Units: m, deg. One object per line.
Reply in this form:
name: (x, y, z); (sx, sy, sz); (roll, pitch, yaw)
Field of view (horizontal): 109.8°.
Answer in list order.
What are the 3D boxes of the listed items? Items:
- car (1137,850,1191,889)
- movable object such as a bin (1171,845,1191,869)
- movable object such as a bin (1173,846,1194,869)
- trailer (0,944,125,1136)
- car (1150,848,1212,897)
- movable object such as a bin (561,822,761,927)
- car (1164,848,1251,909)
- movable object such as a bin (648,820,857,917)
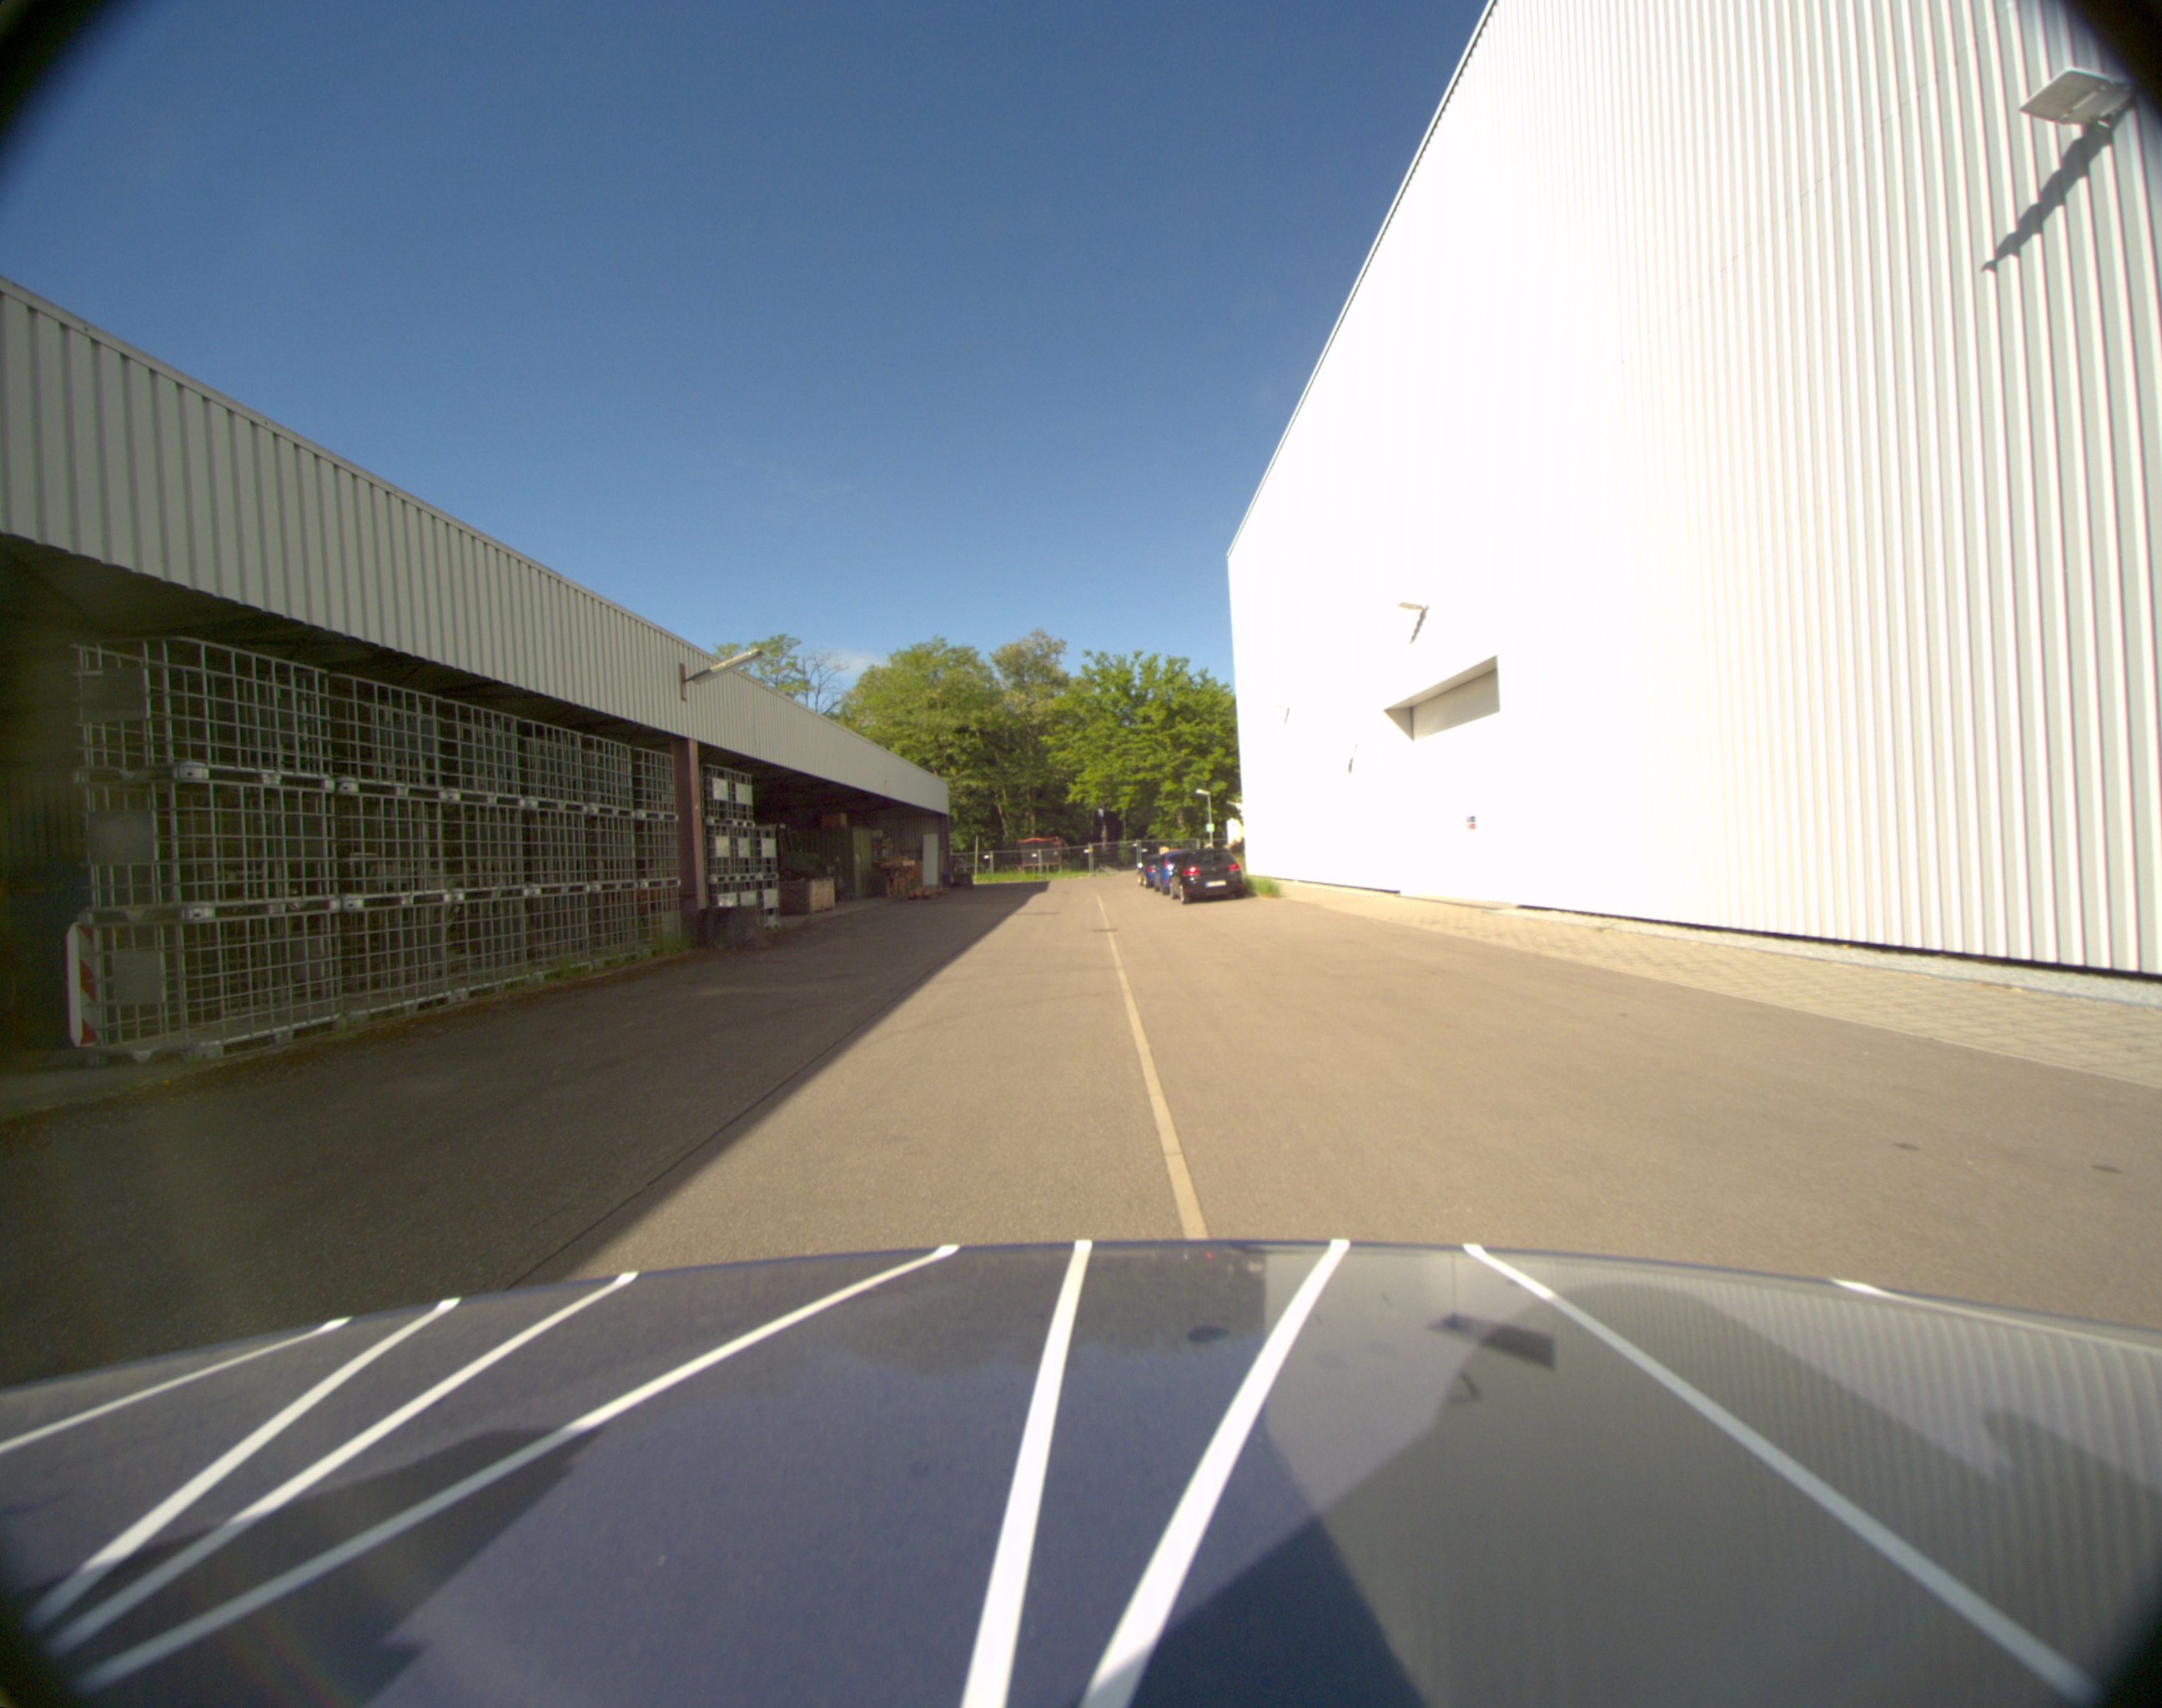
car: (3.453, 0.631, 32.367); (1.716, 1.440, 3.798); (-5, 0, -1)
movable object such as a bin: (6.491, 0.202, 49.455); (1.141, 1.469, 1.280); (-2, 0, 1)
movable object such as a bin: (6.463, 0.204, 48.091); (1.141, 1.426, 1.289); (-2, 0, 1)
trailer: (-9.975, 1.352, 4.600); (5.743, 1.178, 1.974); (-2, 1, -1)
car: (3.463, 0.622, 26.855); (1.552, 1.479, 3.522); (-5, 0, -1)
movable object such as a bin: (-12.524, 0.590, 22.960); (4.537, 2.814, 2.497); (-2, 0, 1)
car: (3.563, 0.645, 22.110); (1.760, 1.437, 4.315); (-6, 0, 1)
movable object such as a bin: (-11.149, 0.475, 26.222); (5.848, 2.908, 2.820); (-2, 0, 1)
